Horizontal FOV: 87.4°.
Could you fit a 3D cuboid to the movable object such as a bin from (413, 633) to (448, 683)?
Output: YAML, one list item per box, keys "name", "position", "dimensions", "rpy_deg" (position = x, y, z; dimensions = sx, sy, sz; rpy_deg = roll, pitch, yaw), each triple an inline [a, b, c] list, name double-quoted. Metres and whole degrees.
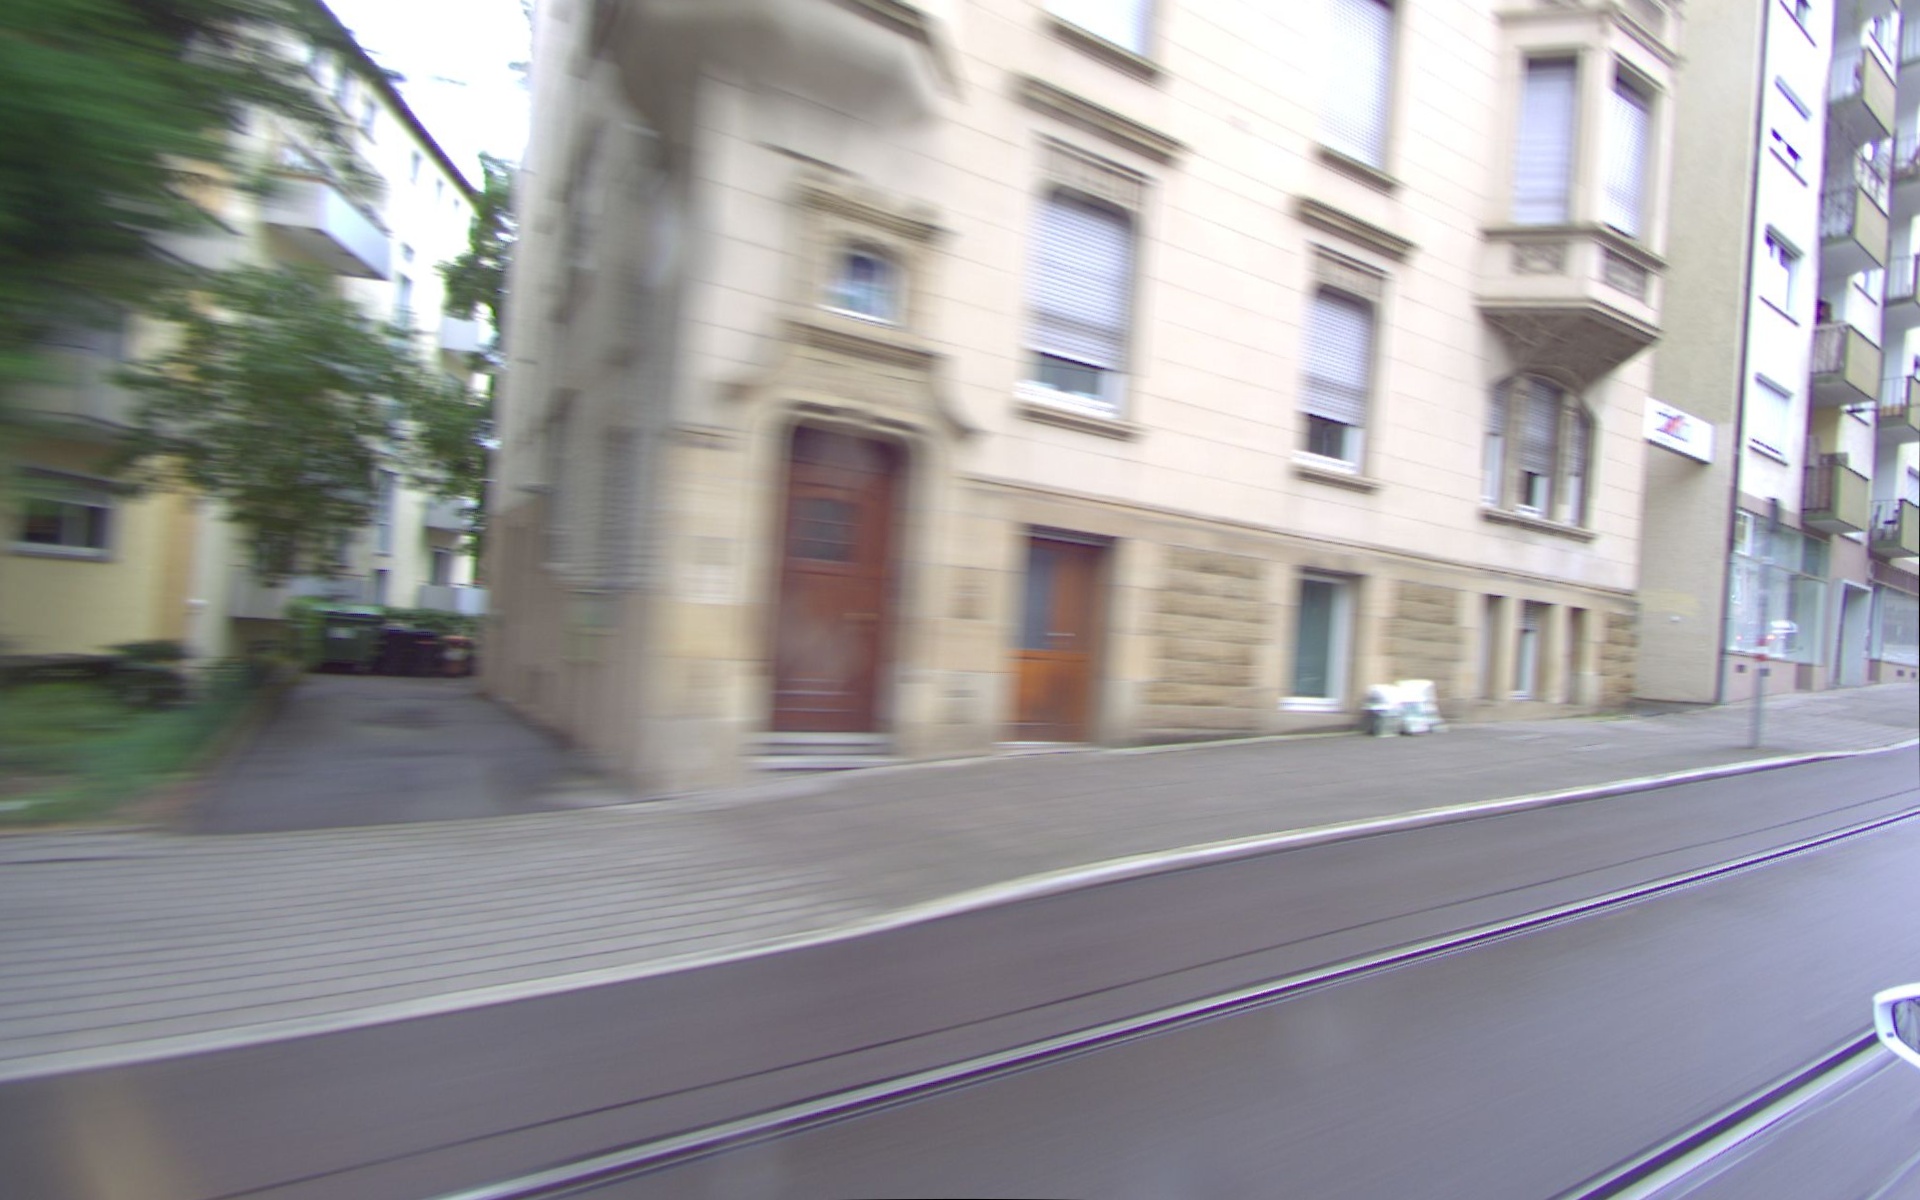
- name: "movable object such as a bin"
  position: [-11.905, 1.305, 22.566]
  dimensions: [0.575, 1.048, 0.691]
  rpy_deg: [5, -1, -32]

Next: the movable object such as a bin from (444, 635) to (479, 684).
- name: "movable object such as a bin"
  position: [-11.385, 1.353, 22.932]
  dimensions: [0.575, 1.048, 0.691]
  rpy_deg: [5, -1, -32]

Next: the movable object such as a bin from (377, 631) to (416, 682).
- name: "movable object such as a bin"
  position: [-12.456, 1.254, 22.213]
  dimensions: [0.651, 1.048, 0.737]
  rpy_deg: [5, -1, -32]

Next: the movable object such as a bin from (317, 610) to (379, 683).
- name: "movable object such as a bin"
  position: [-13.121, 0.988, 21.548]
  dimensions: [1.029, 1.450, 0.885]
  rpy_deg: [5, -1, -32]
